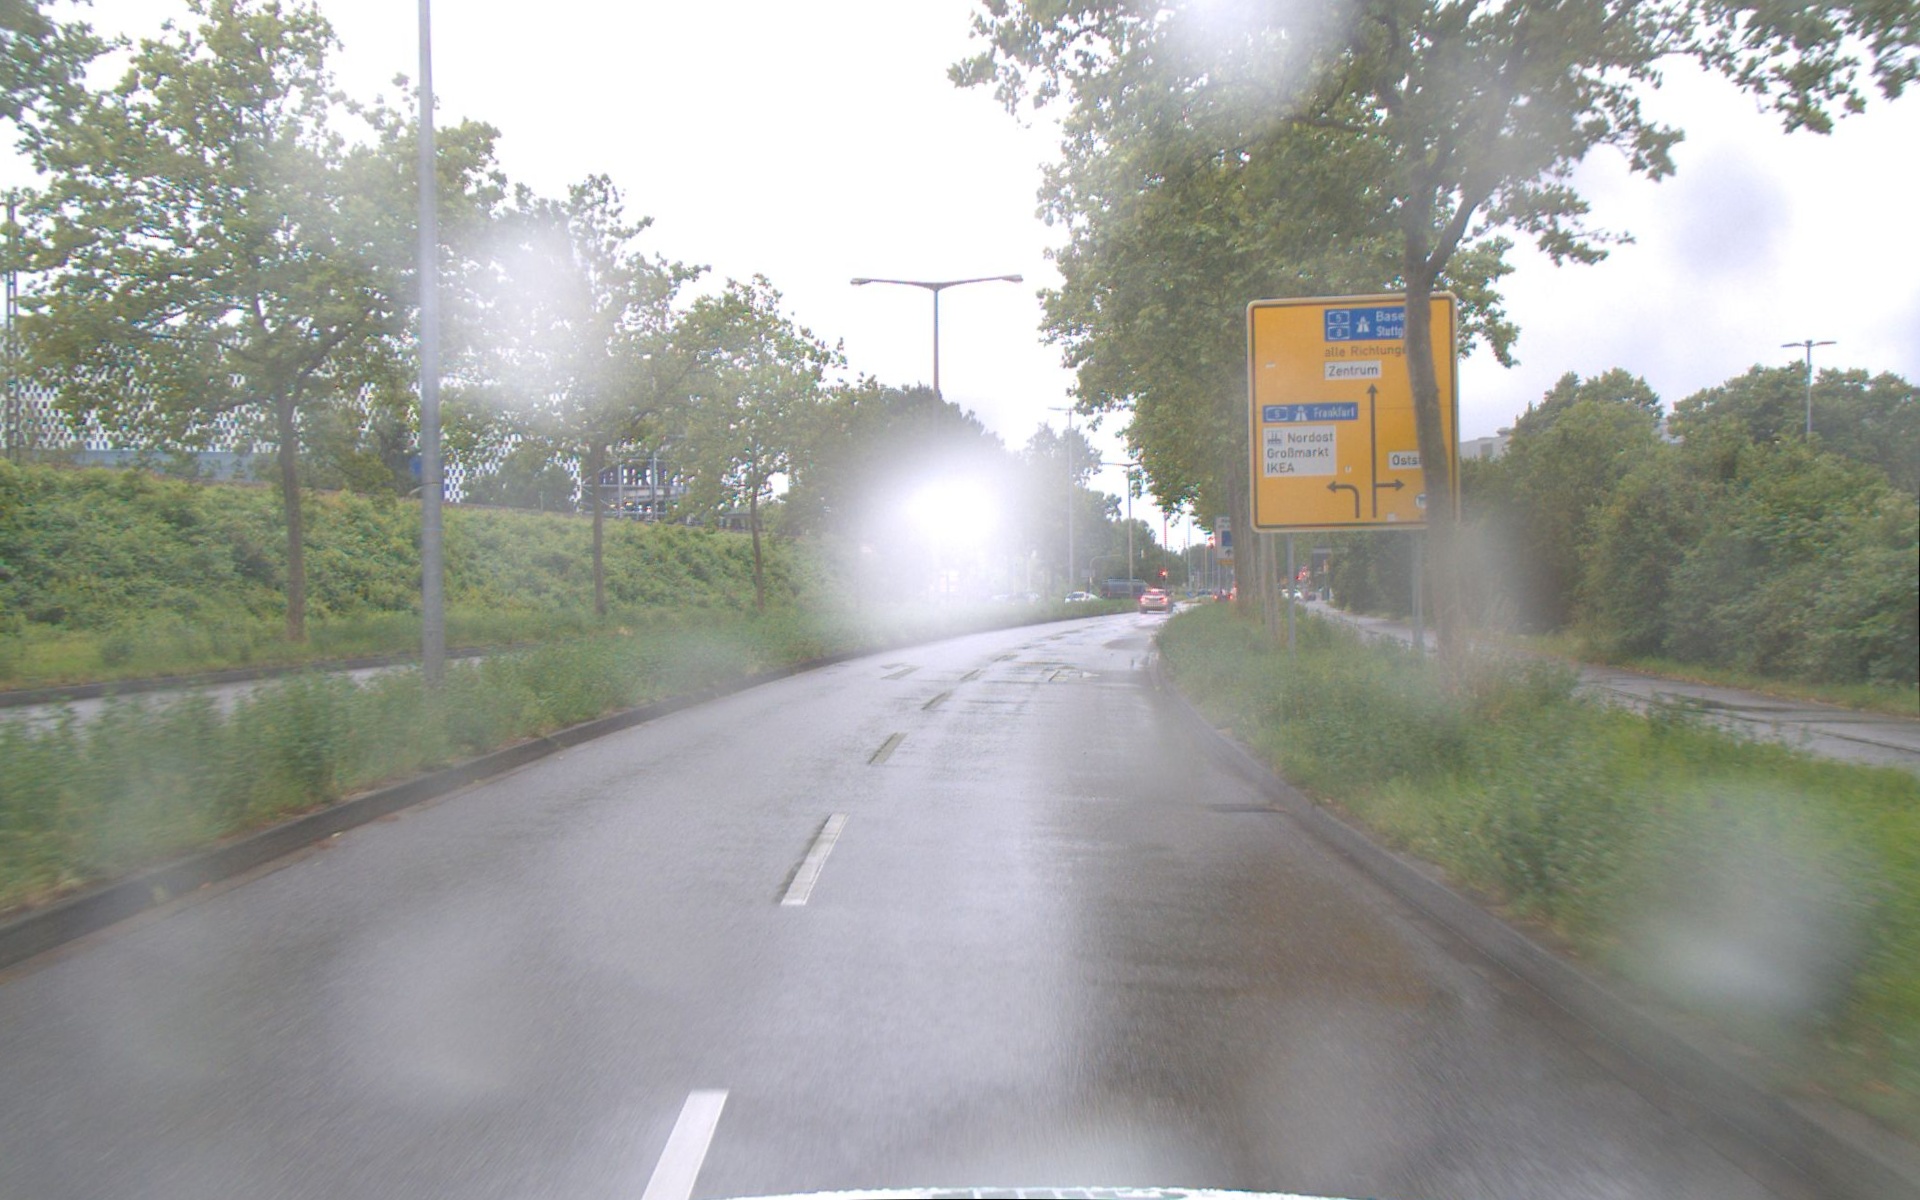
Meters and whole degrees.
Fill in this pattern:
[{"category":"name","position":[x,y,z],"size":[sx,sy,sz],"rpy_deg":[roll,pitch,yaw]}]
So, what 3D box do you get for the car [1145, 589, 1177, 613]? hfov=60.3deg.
[{"category":"car","position":[12.320,0.071,101.250],"size":[1.654,1.458,4.578],"rpy_deg":[0,0,11]}]
